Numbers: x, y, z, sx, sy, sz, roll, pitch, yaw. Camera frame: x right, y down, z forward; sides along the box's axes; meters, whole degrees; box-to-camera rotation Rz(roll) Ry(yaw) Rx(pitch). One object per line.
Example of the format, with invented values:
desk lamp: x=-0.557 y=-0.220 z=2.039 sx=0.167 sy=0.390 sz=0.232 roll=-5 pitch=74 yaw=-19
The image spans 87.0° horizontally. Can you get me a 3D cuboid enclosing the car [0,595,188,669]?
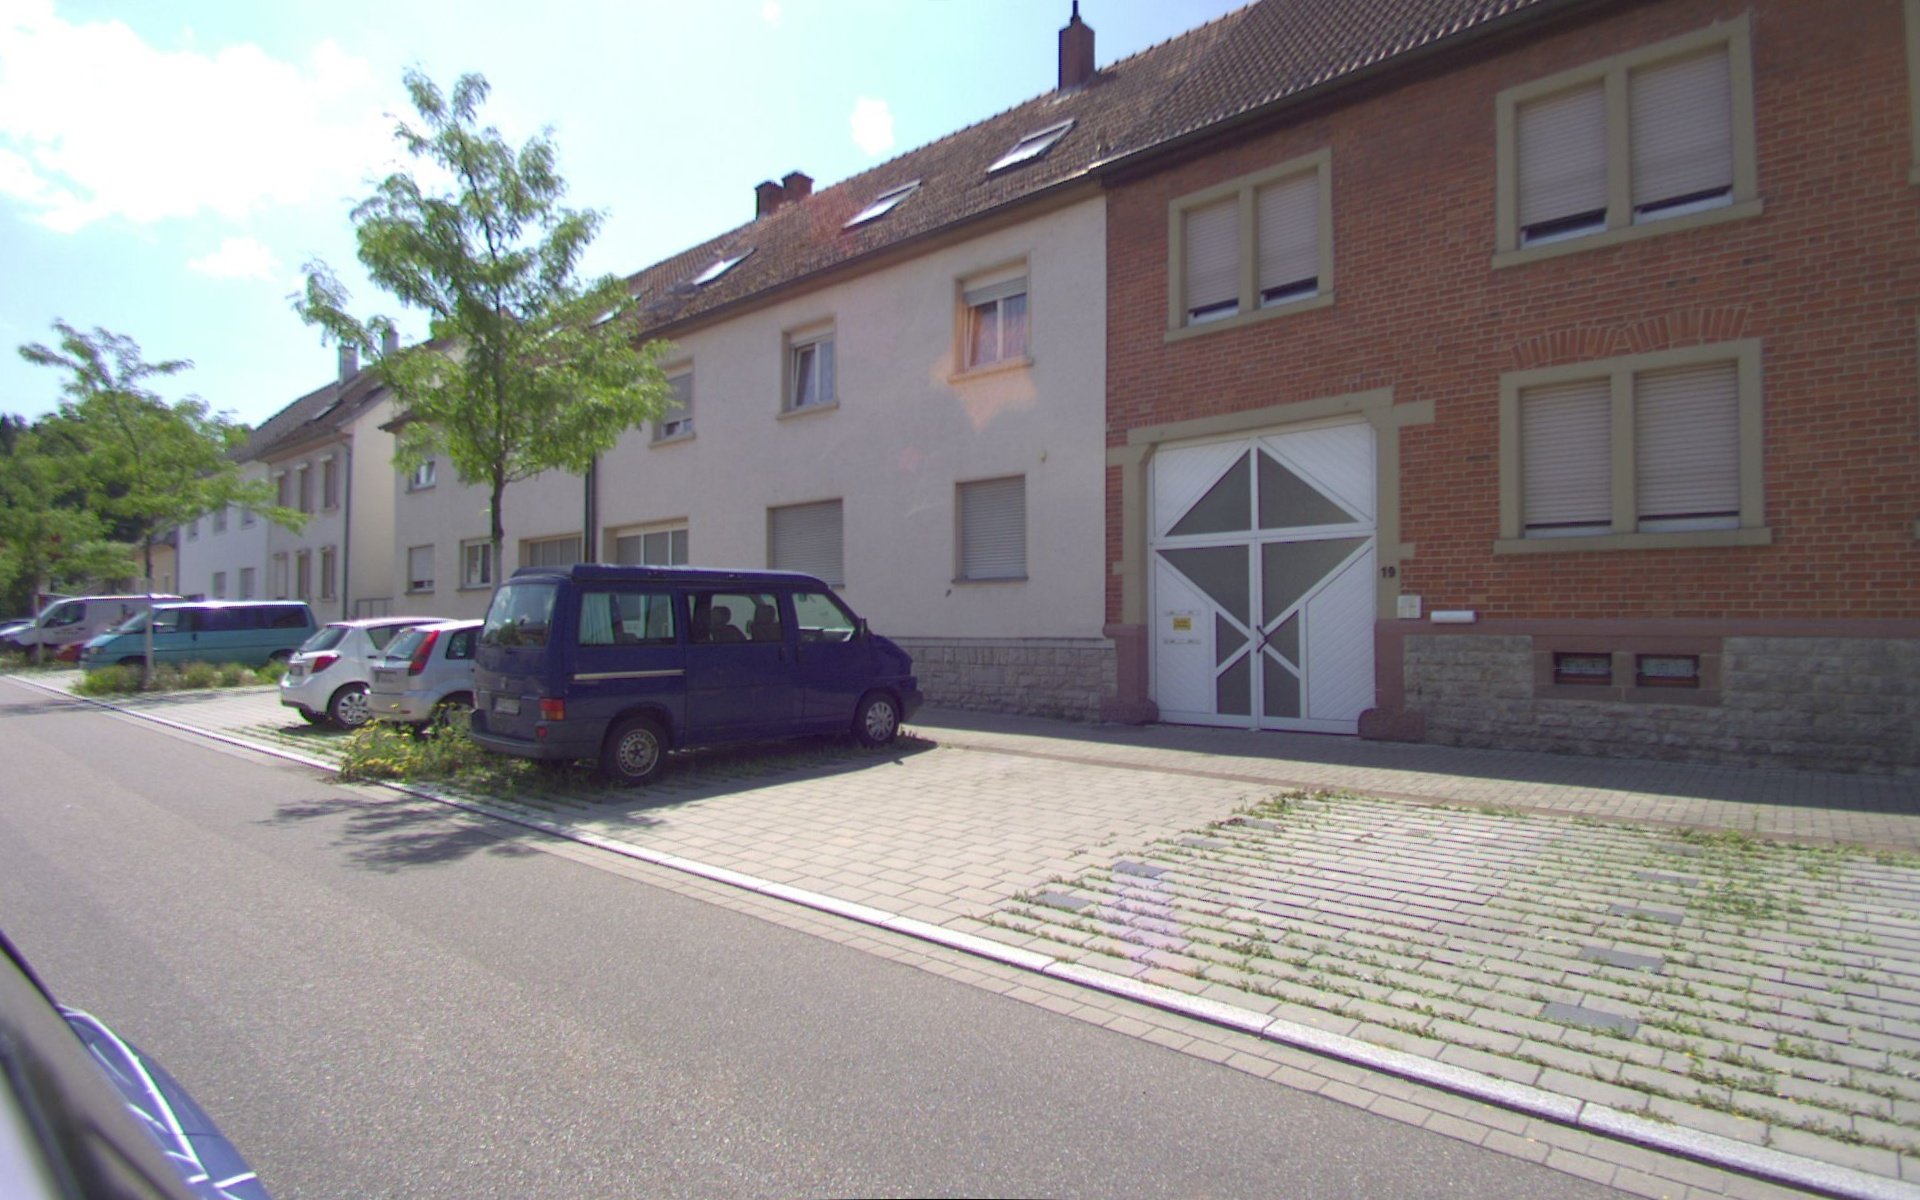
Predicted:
car: x=-30.465 y=1.052 z=35.401 sx=2.155 sy=2.305 sz=5.115 roll=-1 pitch=0 yaw=39

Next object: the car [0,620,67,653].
car: x=-46.936 y=1.808 z=49.591 sx=1.900 sy=1.528 sz=4.539 roll=-1 pitch=0 yaw=41

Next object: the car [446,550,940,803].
car: x=-2.498 y=0.598 z=10.392 sx=1.953 sy=2.011 sz=4.563 roll=-1 pitch=0 yaw=43

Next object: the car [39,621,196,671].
car: x=-27.504 y=1.449 z=33.121 sx=1.725 sy=1.396 sz=3.743 roll=-1 pitch=1 yaw=41

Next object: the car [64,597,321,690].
car: x=-18.345 y=0.944 z=24.358 sx=1.999 sy=1.921 sz=4.628 roll=0 pitch=1 yaw=42

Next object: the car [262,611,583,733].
car: x=-7.887 y=0.953 z=15.092 sx=1.773 sy=1.500 sz=3.873 roll=-1 pitch=0 yaw=43

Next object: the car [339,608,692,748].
car: x=-5.725 y=0.897 z=13.356 sx=1.773 sy=1.500 sz=3.873 roll=-1 pitch=0 yaw=43
